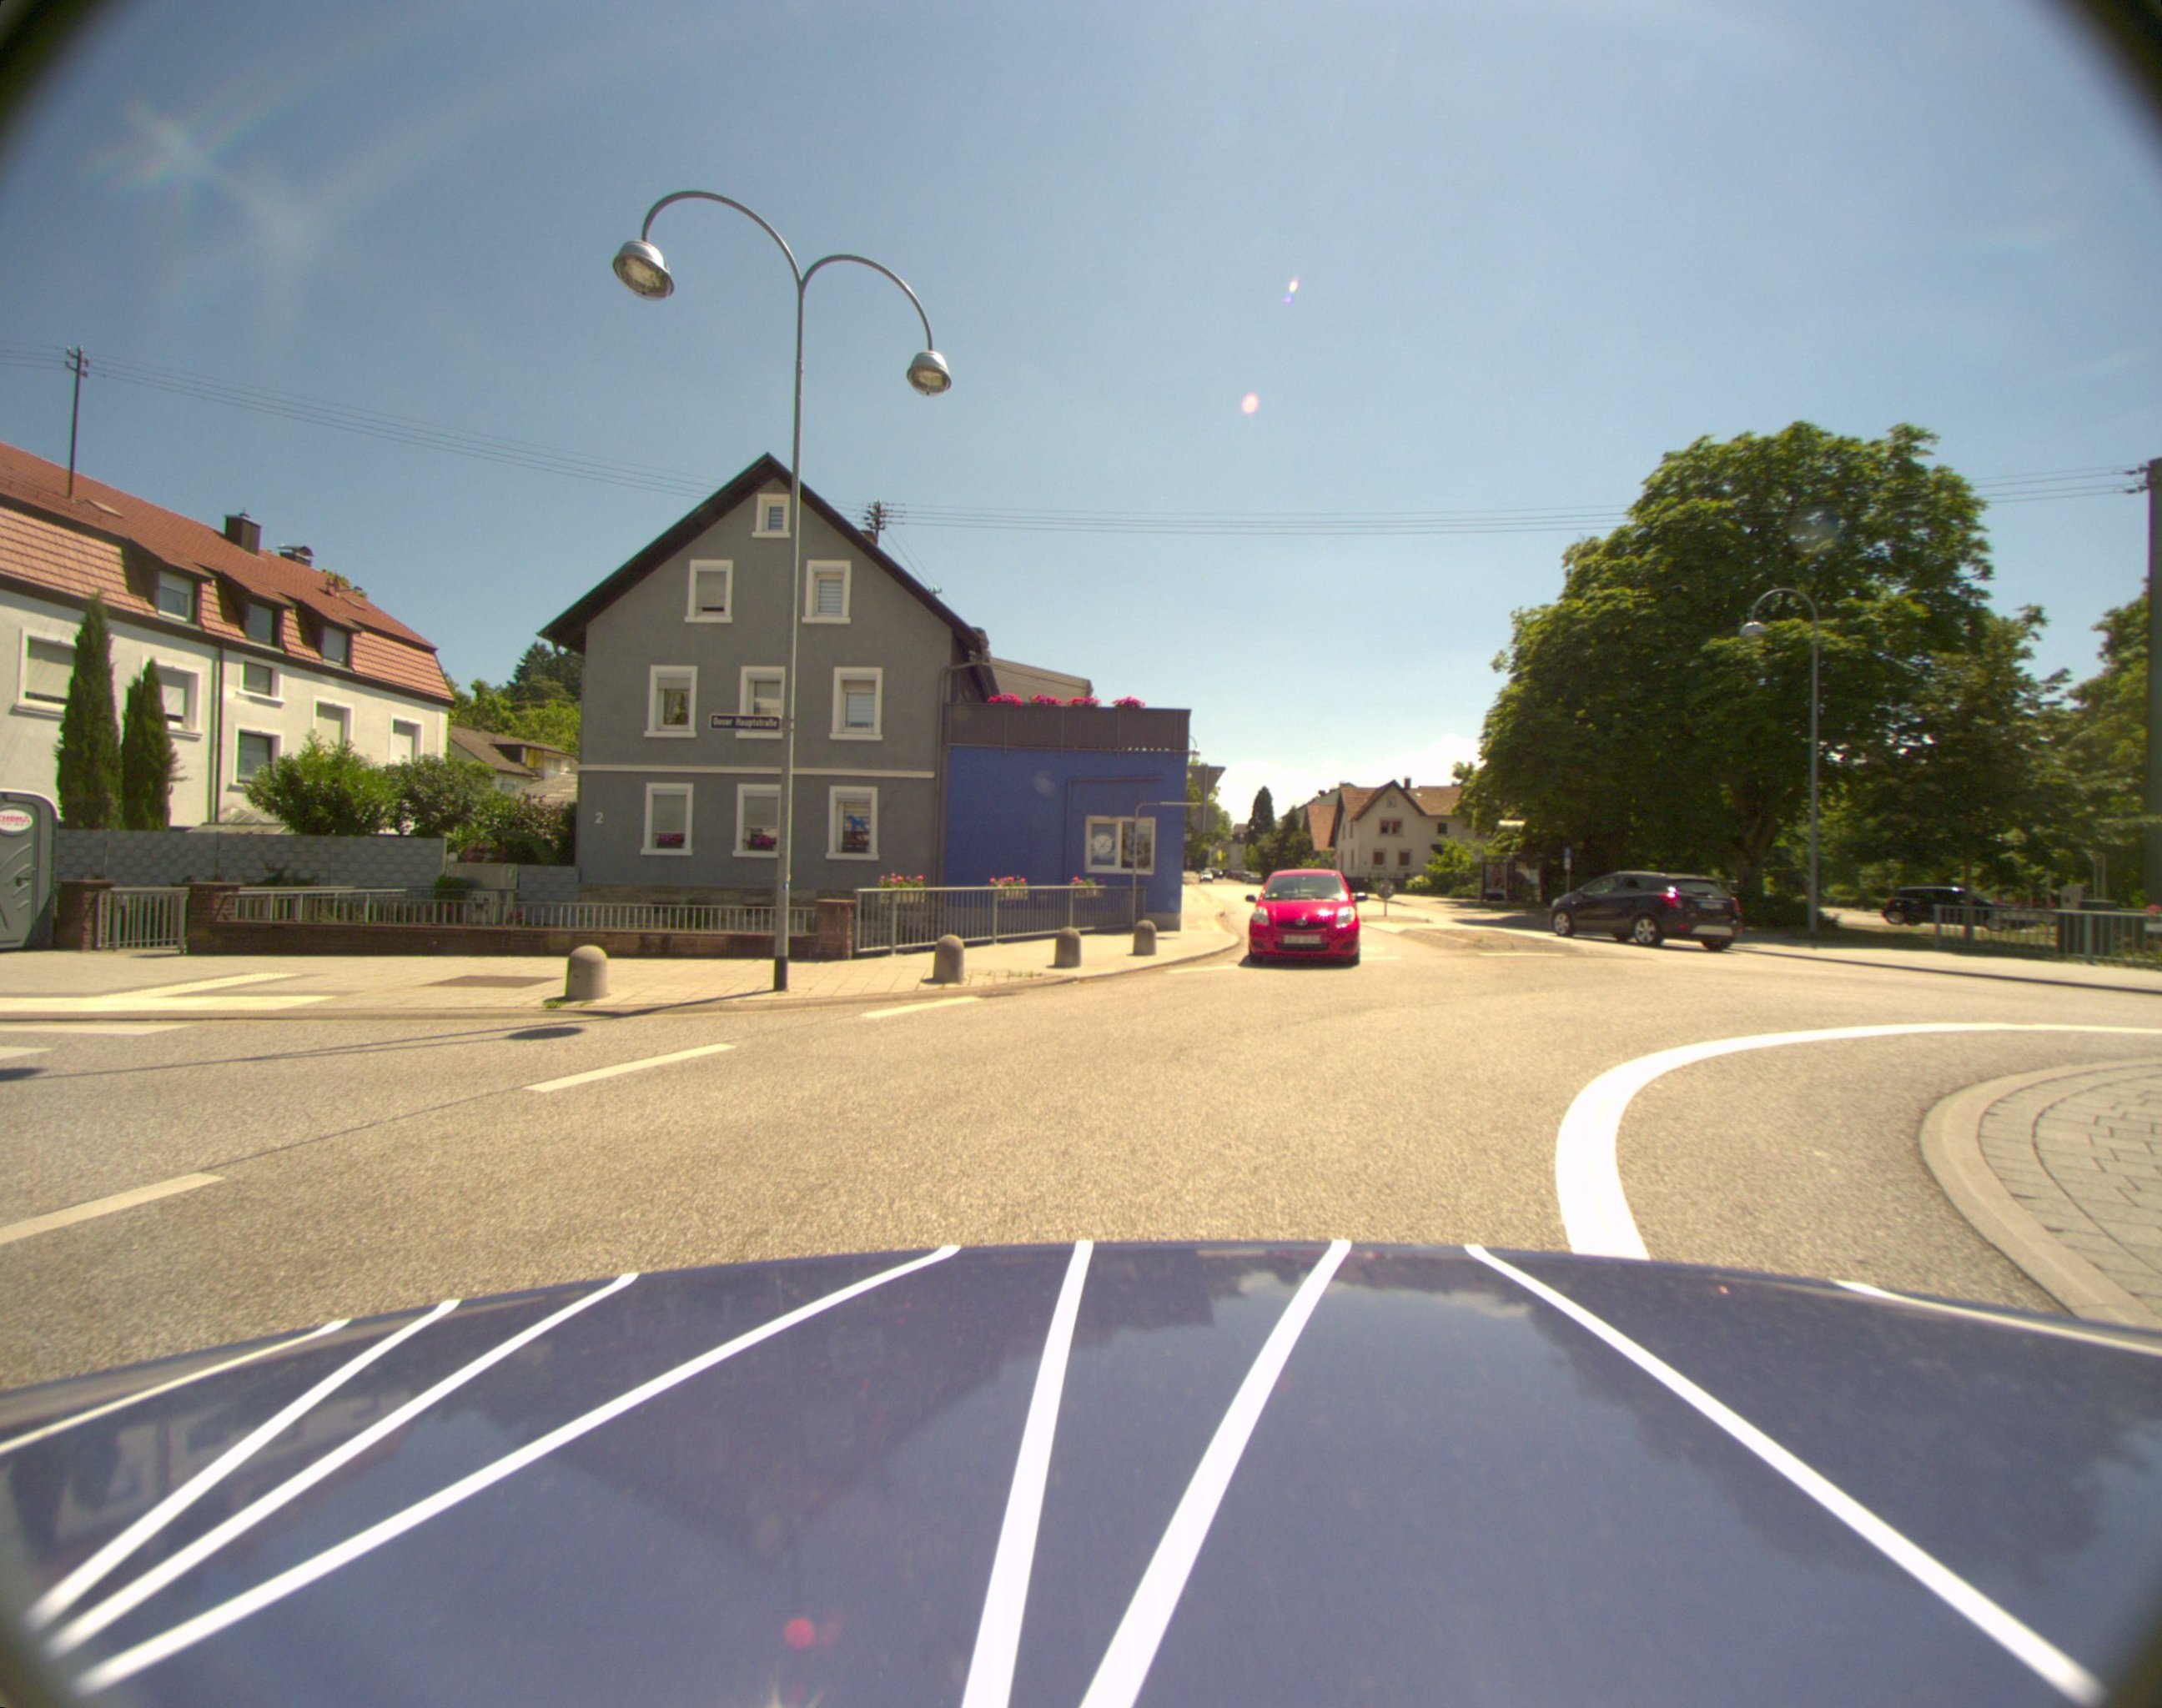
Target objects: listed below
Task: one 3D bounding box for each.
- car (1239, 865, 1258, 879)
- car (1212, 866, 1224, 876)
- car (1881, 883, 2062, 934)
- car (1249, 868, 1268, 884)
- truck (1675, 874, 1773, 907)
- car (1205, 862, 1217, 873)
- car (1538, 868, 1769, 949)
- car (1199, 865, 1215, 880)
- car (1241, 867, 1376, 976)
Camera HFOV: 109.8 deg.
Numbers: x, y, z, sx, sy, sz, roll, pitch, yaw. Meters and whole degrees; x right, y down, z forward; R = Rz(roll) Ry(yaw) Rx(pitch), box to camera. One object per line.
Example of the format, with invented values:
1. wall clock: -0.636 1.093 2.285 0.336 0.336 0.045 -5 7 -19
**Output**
1. car: 24.941 2.690 113.149 1.998 2.001 4.003 3 -3 3
2. car: 24.942 3.136 138.189 1.738 1.695 4.003 1 -3 4
3. car: 32.936 1.967 28.253 1.845 1.592 3.992 2 0 -24
4. car: 23.874 2.934 102.197 1.997 2.001 4.004 3 -3 6
5. truck: 54.418 3.078 64.494 6.199 2.428 2.271 1 -3 39
6. car: 26.772 2.859 156.615 1.998 2.001 4.003 3 -3 3
7. car: 12.936 1.184 17.559 1.999 1.552 4.166 3 -2 -3
8. car: 18.349 2.722 110.665 1.997 2.001 4.004 3 -3 6
9. car: 3.920 1.025 12.975 1.831 1.523 4.006 -2 -1 18
